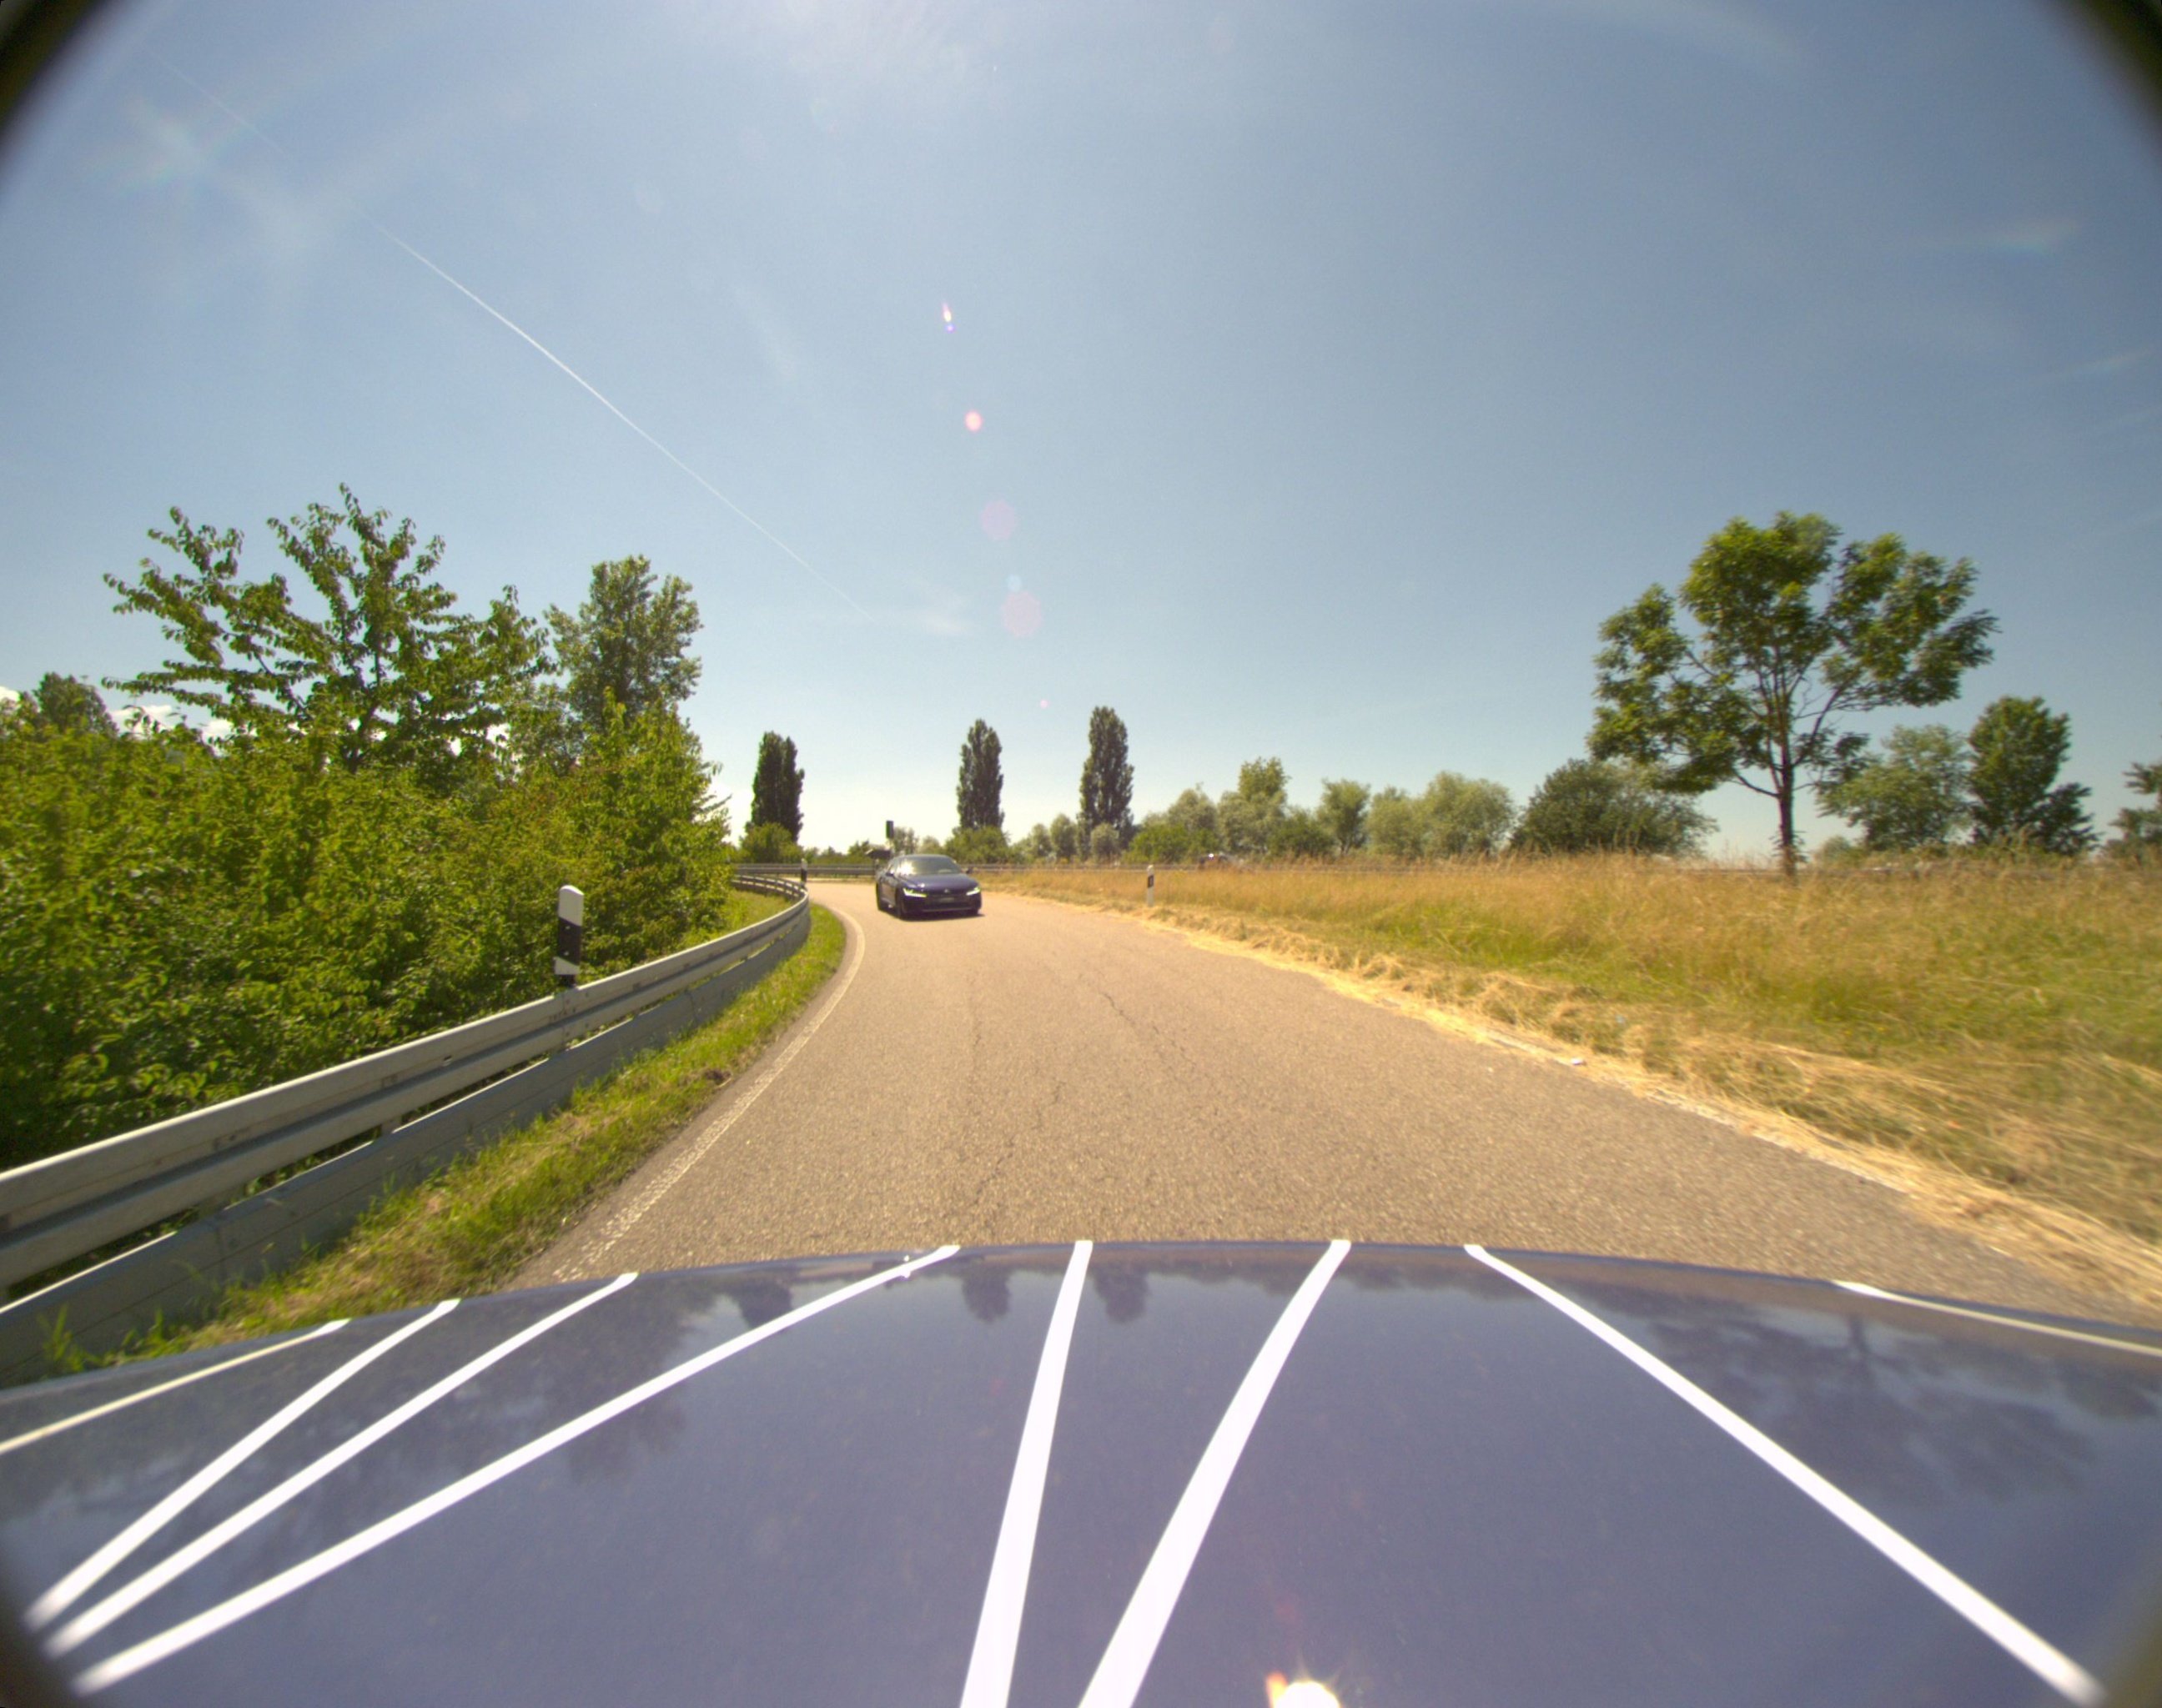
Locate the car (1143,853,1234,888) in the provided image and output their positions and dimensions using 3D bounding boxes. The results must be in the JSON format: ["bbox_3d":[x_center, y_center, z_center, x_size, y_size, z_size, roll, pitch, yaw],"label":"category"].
[{"bbox_3d":[5.260,0.783,37.286,3.989,1.602,1.835,-1,1,28],"label":"car"}]

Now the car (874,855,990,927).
[{"bbox_3d":[-3.751,0.796,18.511,1.846,1.422,4.525,-4,1,-22],"label":"car"}]

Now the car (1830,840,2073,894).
[{"bbox_3d":[27.209,0.390,24.016,4.632,1.564,2.004,0,1,28],"label":"car"}]
